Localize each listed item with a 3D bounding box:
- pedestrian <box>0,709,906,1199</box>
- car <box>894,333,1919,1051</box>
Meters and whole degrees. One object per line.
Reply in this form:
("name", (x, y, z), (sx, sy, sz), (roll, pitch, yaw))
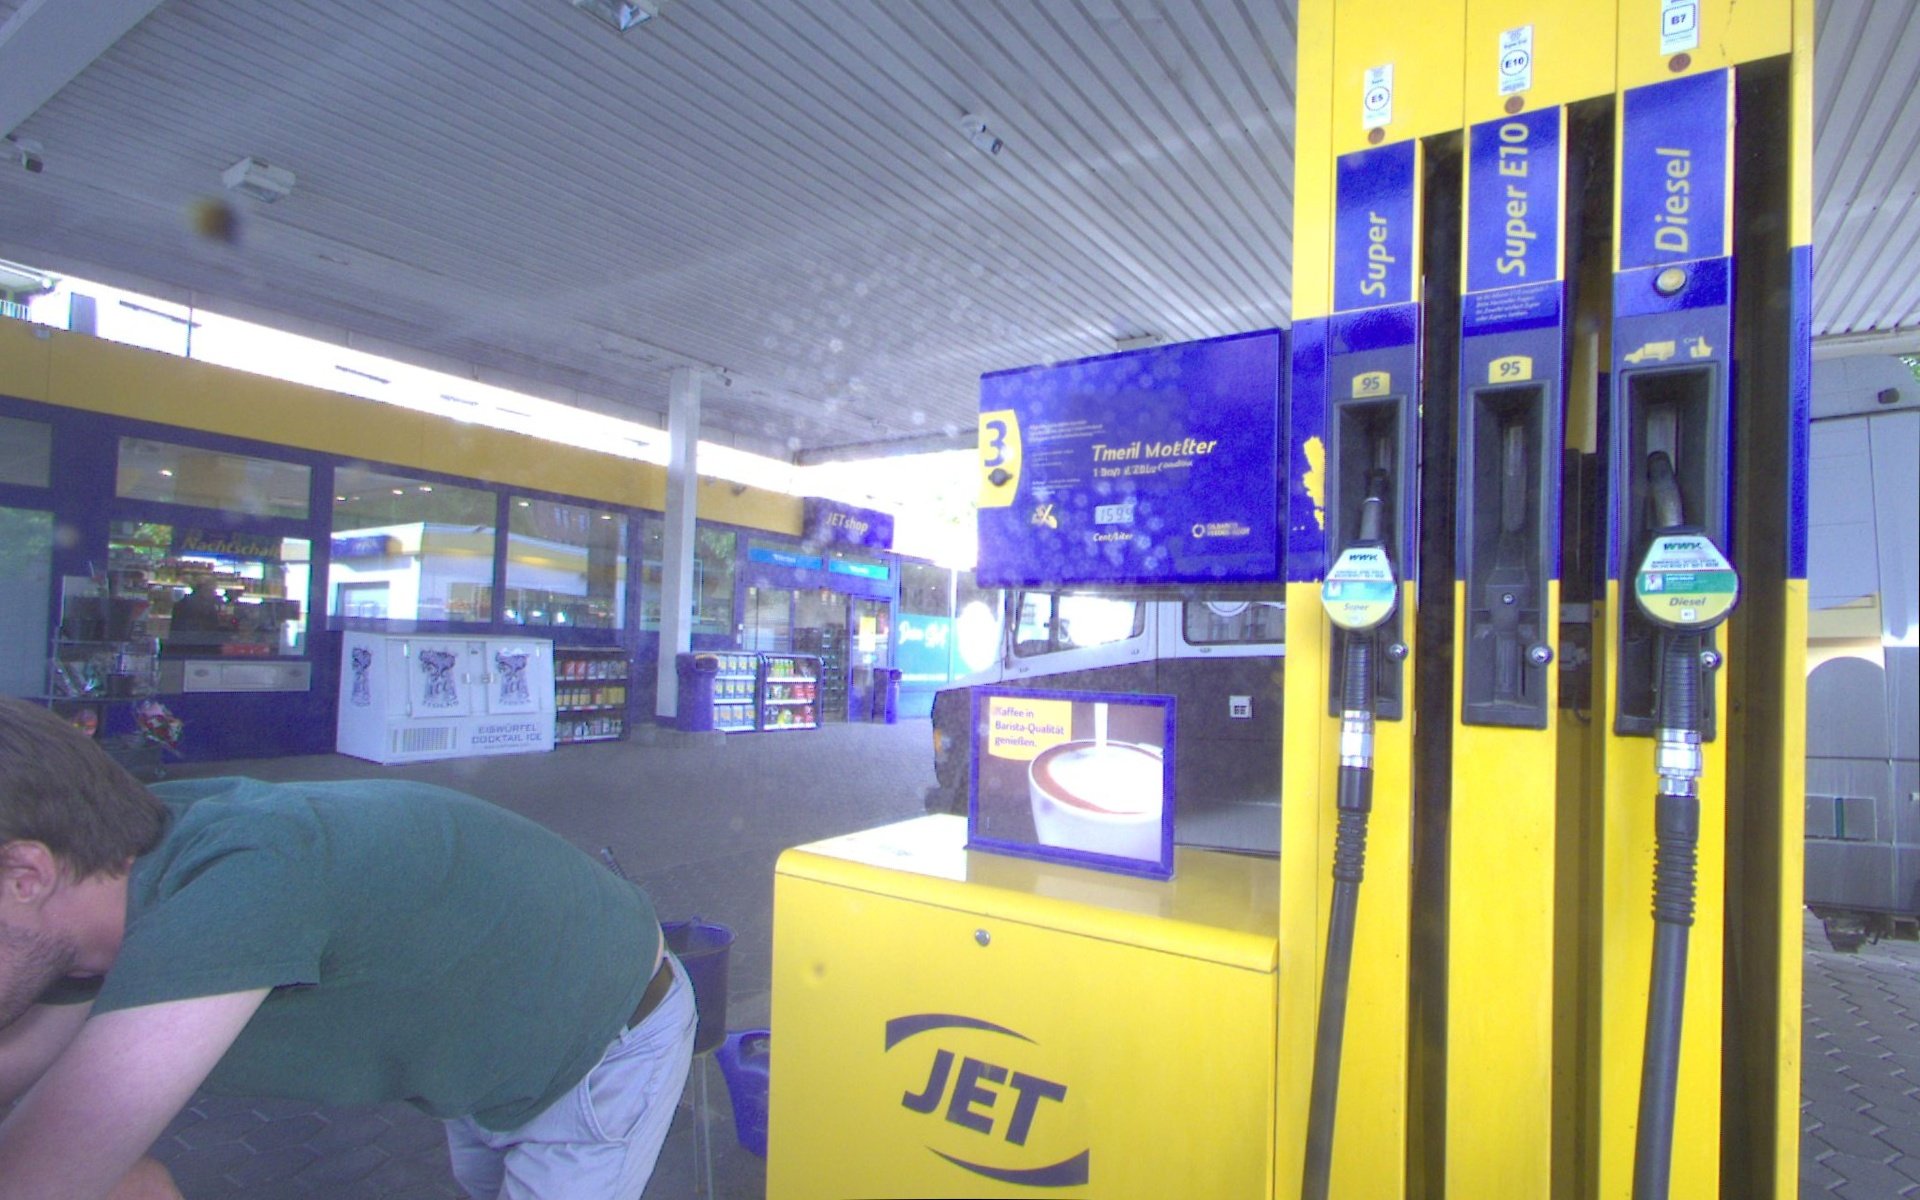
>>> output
("pedestrian", (-0.540, 0.802, 1.076), (0.664, 1.298, 0.749), (-1, -1, 31))
("car", (2.383, 0.405, 6.021), (5.219, 2.724, 2.250), (0, -3, 34))
